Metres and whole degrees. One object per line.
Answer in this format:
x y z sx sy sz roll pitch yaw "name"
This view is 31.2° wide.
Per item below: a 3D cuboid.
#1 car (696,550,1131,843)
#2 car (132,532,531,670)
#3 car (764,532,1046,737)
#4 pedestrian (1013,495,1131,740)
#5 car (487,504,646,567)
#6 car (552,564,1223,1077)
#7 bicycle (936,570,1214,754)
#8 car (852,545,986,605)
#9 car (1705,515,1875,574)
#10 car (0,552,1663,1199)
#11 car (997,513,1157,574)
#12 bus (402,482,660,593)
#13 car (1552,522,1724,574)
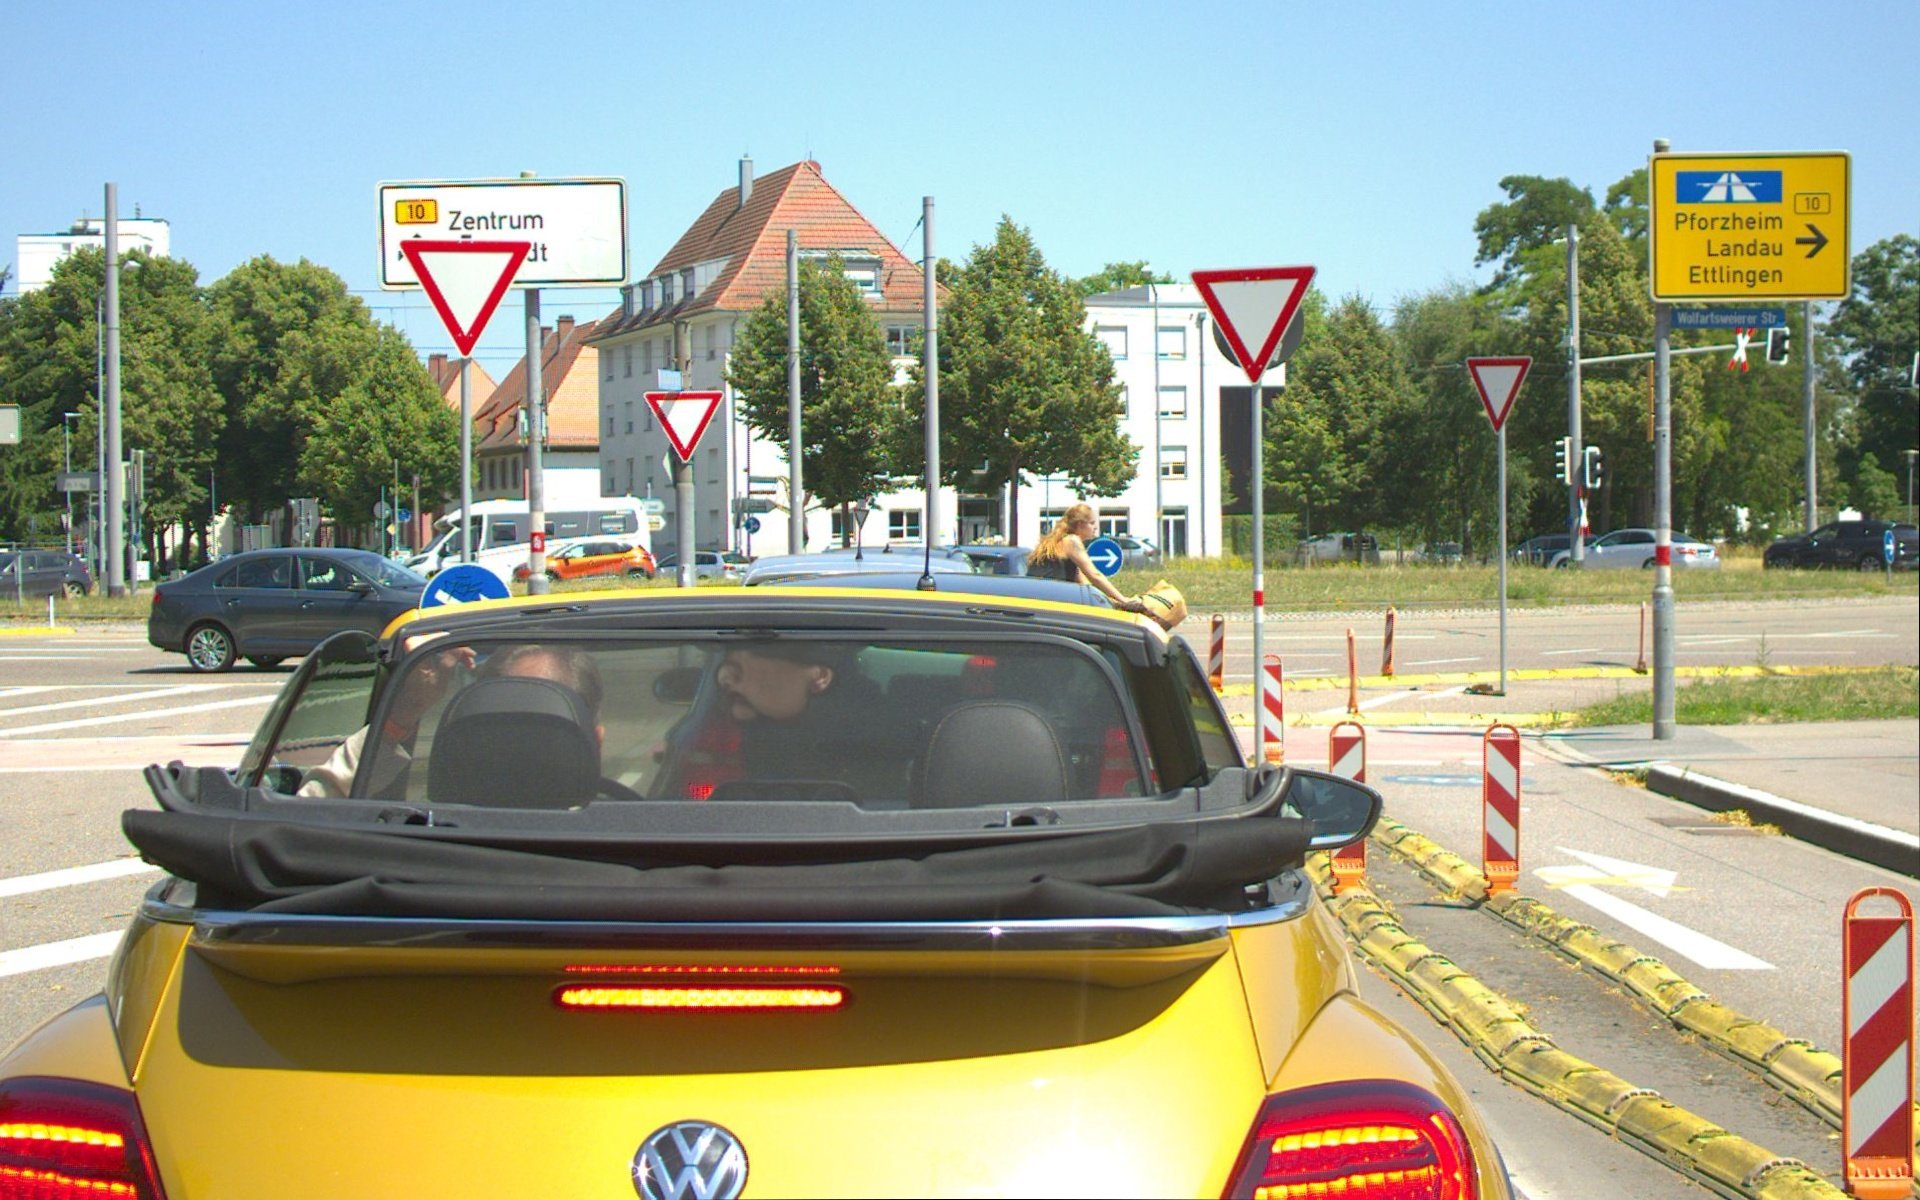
-0.247 0.443 18.614 2.065 1.377 4.258 1 1 -1 "car"
-7.474 -0.004 40.968 4.332 1.547 1.727 1 0 14 "car"
-0.434 0.210 27.698 2.065 1.476 4.543 -1 1 -1 "car"
0.790 0.115 24.071 0.733 1.685 0.575 1 0 9 "pedestrian"
-11.368 -1.841 99.152 4.429 1.730 1.849 1 0 -10 "car"
-0.224 0.592 11.714 1.851 1.361 4.258 -1 1 -1 "car"
0.808 0.432 24.044 1.843 1.227 0.613 -2 0 10 "bicycle"
-1.237 -0.758 104.922 3.987 1.766 1.786 1 0 2 "car"
23.115 -1.550 95.881 1.876 1.608 4.329 0 1 -40 "car"
-0.311 0.682 5.085 1.765 1.476 4.258 1 1 -1 "car"
3.435 -1.646 100.421 4.432 1.730 1.848 1 0 10 "car"
-12.779 -1.846 102.430 7.251 3.161 2.262 1 0 -20 "bus"
18.490 -1.416 93.876 4.328 1.367 1.748 1 1 44 "car"
